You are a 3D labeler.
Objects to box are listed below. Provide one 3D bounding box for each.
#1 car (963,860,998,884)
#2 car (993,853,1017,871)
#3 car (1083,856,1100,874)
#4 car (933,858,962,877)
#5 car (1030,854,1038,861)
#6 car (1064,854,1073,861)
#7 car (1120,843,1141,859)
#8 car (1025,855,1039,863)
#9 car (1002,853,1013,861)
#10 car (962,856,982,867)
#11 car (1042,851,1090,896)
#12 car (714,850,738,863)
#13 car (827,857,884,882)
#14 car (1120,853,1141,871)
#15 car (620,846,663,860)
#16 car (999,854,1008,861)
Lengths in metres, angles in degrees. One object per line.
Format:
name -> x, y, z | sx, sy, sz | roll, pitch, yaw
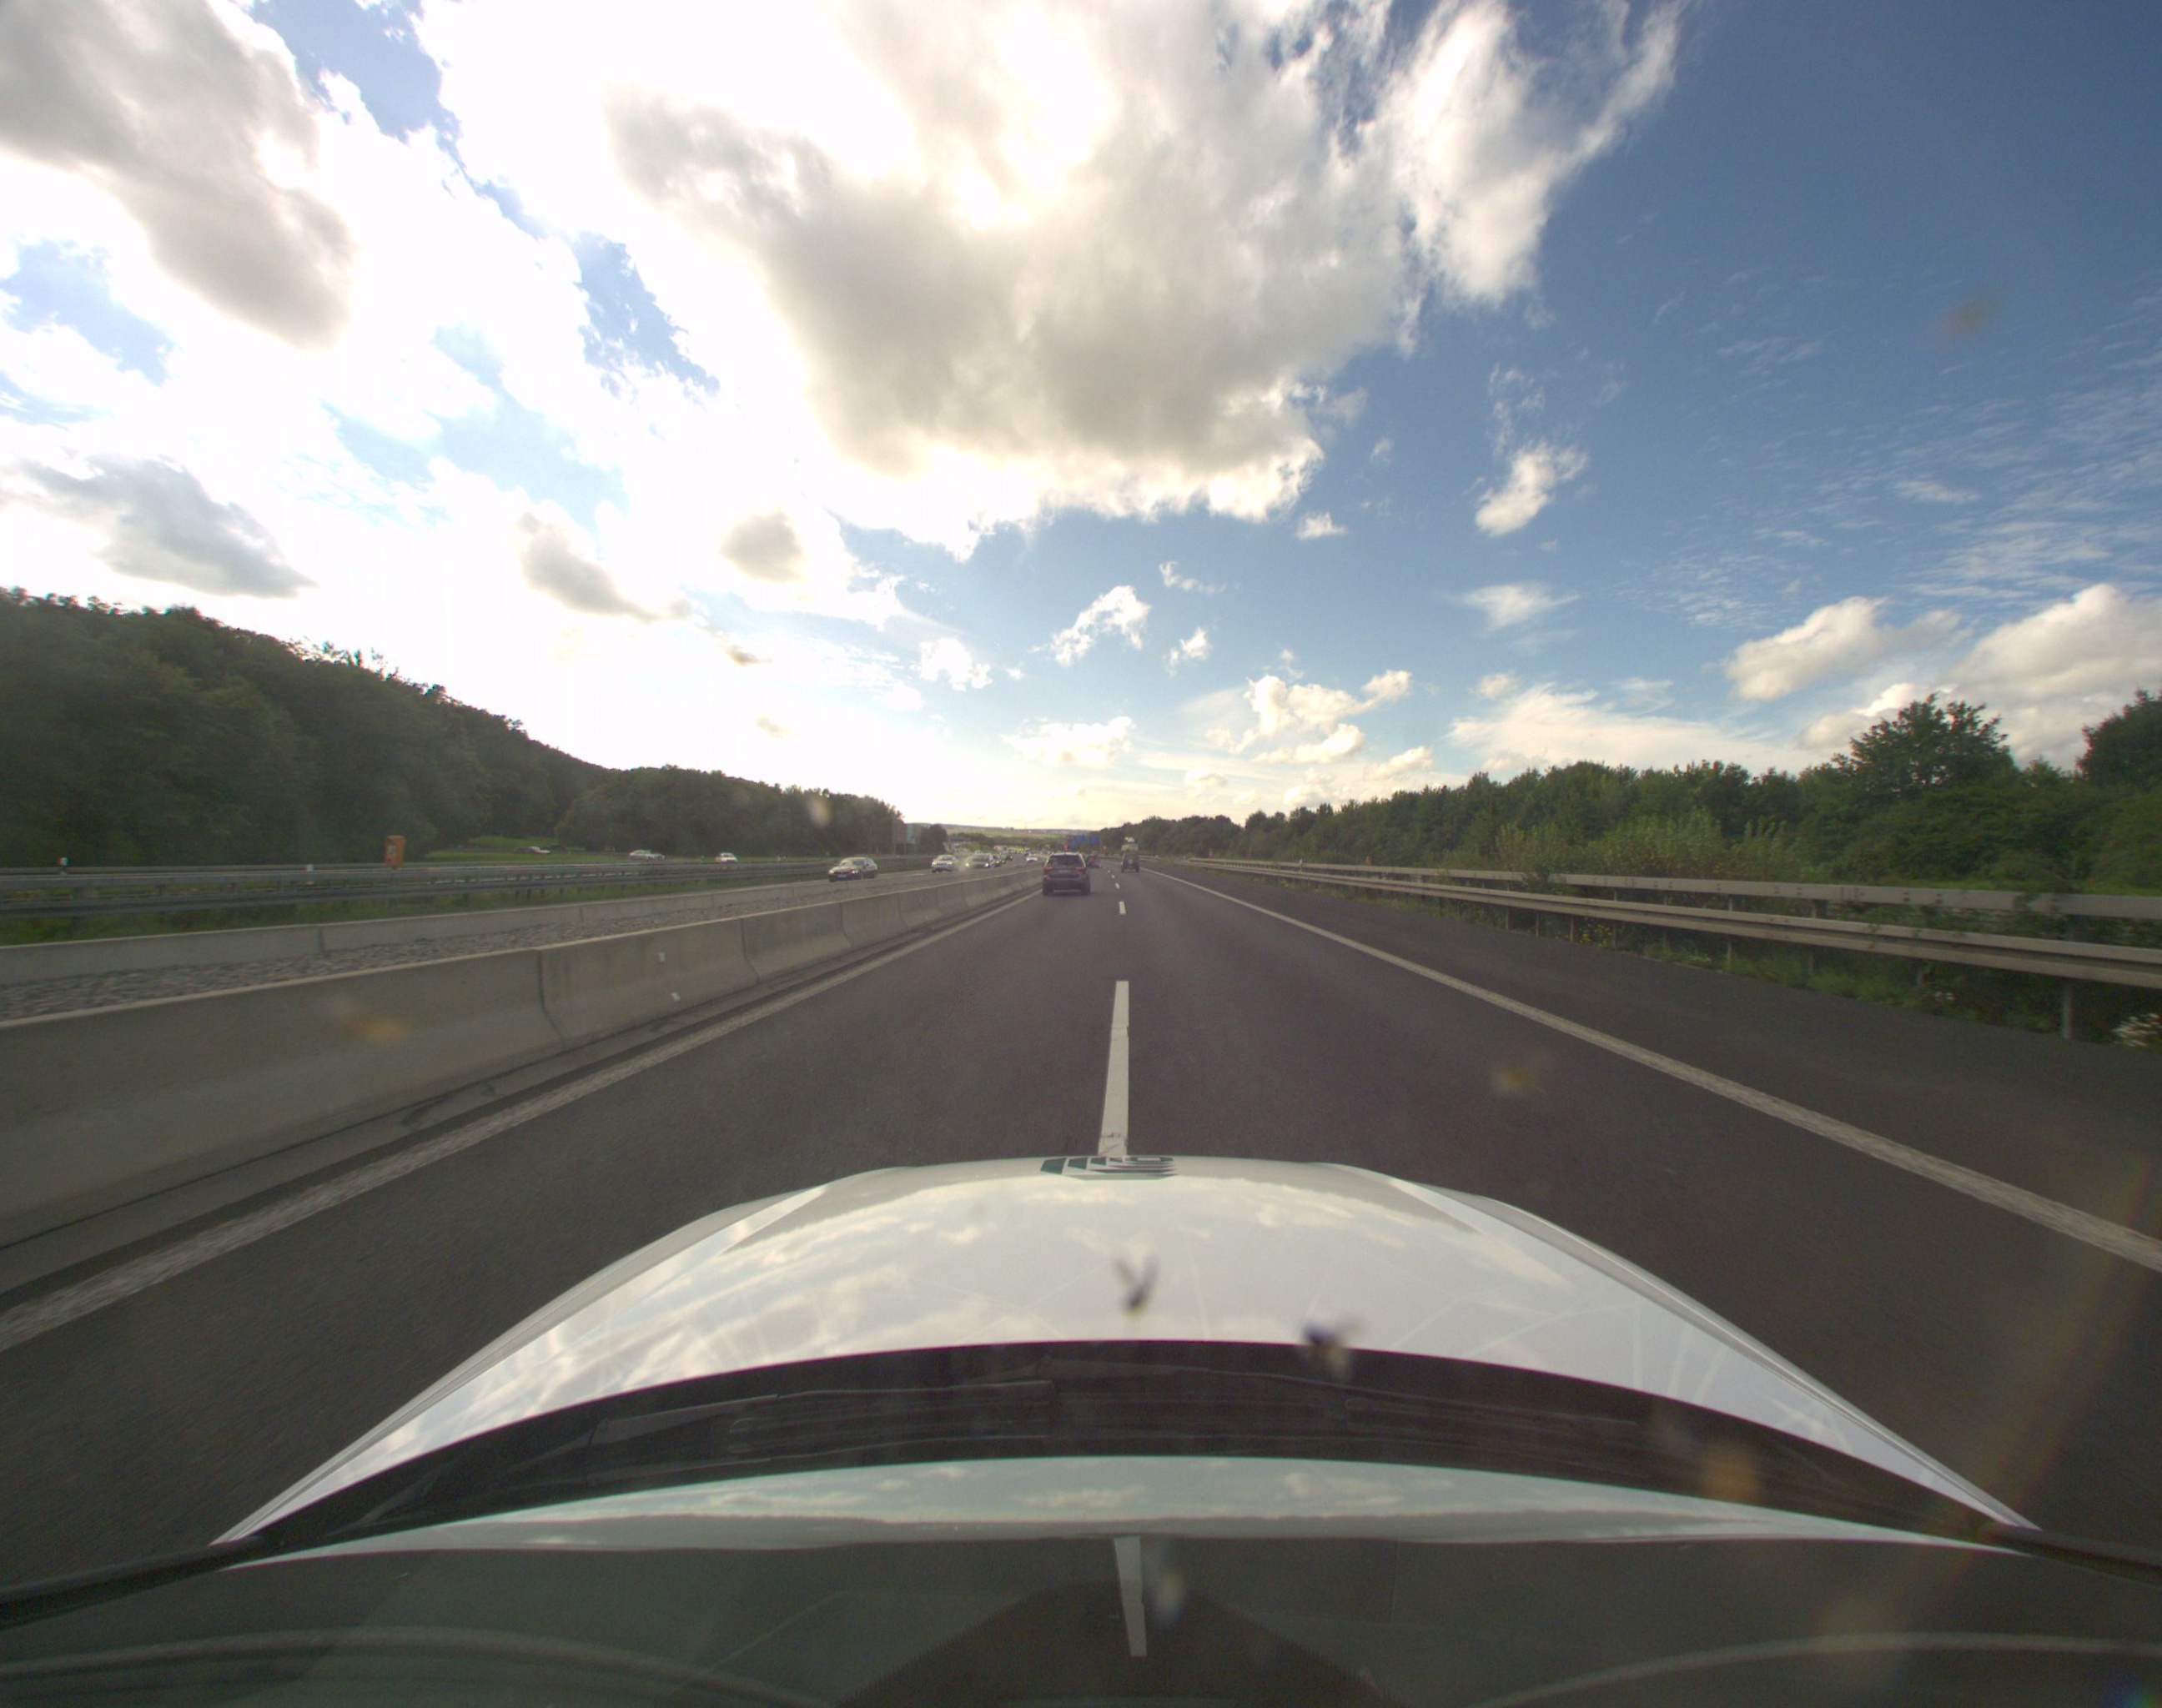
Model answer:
car -> -7.822, 1.368, 63.642 | 1.878, 1.703, 4.970 | 0, 0, 3
car -> -7.851, 0.776, 84.748 | 1.879, 1.785, 4.954 | 0, 0, 1
car -> 1.273, 1.316, 97.182 | 2.023, 2.151, 4.001 | 0, 0, 1
car -> -12.088, 1.218, 73.986 | 1.880, 1.610, 4.965 | 0, 0, 0
car -> -12.933, 0.999, 225.119 | 1.987, 1.920, 5.148 | 0, 0, 0
car -> -3.088, 0.833, 202.614 | 1.989, 1.684, 3.995 | 0, -2, -3
car -> 14.139, -0.914, 233.670 | 4.720, 4.266, 11.384 | 0, -2, -4
car -> -8.163, 0.791, 136.284 | 2.039, 1.337, 5.608 | 0, 0, 0
car -> -16.086, 0.642, 177.389 | 1.987, 1.691, 4.372 | 0, 0, 0
car -> -14.605, 0.973, 109.186 | 1.879, 1.430, 4.579 | 0, 0, 1
car -> -0.572, 0.805, 34.551 | 1.811, 1.736, 5.188 | 0, -1, 1
car -> -38.727, 0.275, 88.801 | 1.794, 1.431, 4.579 | 0, 0, -31
car -> -13.361, 0.910, 48.570 | 1.986, 1.402, 4.814 | 0, 0, 1
car -> 4.472, 0.711, 74.570 | 1.583, 1.597, 4.093 | 0, 0, -2
car -> -56.244, -0.126, 104.228 | 5.162, 1.672, 1.952 | 0, 0, 22
car -> -20.051, 0.826, 211.493 | 1.988, 1.814, 4.237 | 0, 0, -2
